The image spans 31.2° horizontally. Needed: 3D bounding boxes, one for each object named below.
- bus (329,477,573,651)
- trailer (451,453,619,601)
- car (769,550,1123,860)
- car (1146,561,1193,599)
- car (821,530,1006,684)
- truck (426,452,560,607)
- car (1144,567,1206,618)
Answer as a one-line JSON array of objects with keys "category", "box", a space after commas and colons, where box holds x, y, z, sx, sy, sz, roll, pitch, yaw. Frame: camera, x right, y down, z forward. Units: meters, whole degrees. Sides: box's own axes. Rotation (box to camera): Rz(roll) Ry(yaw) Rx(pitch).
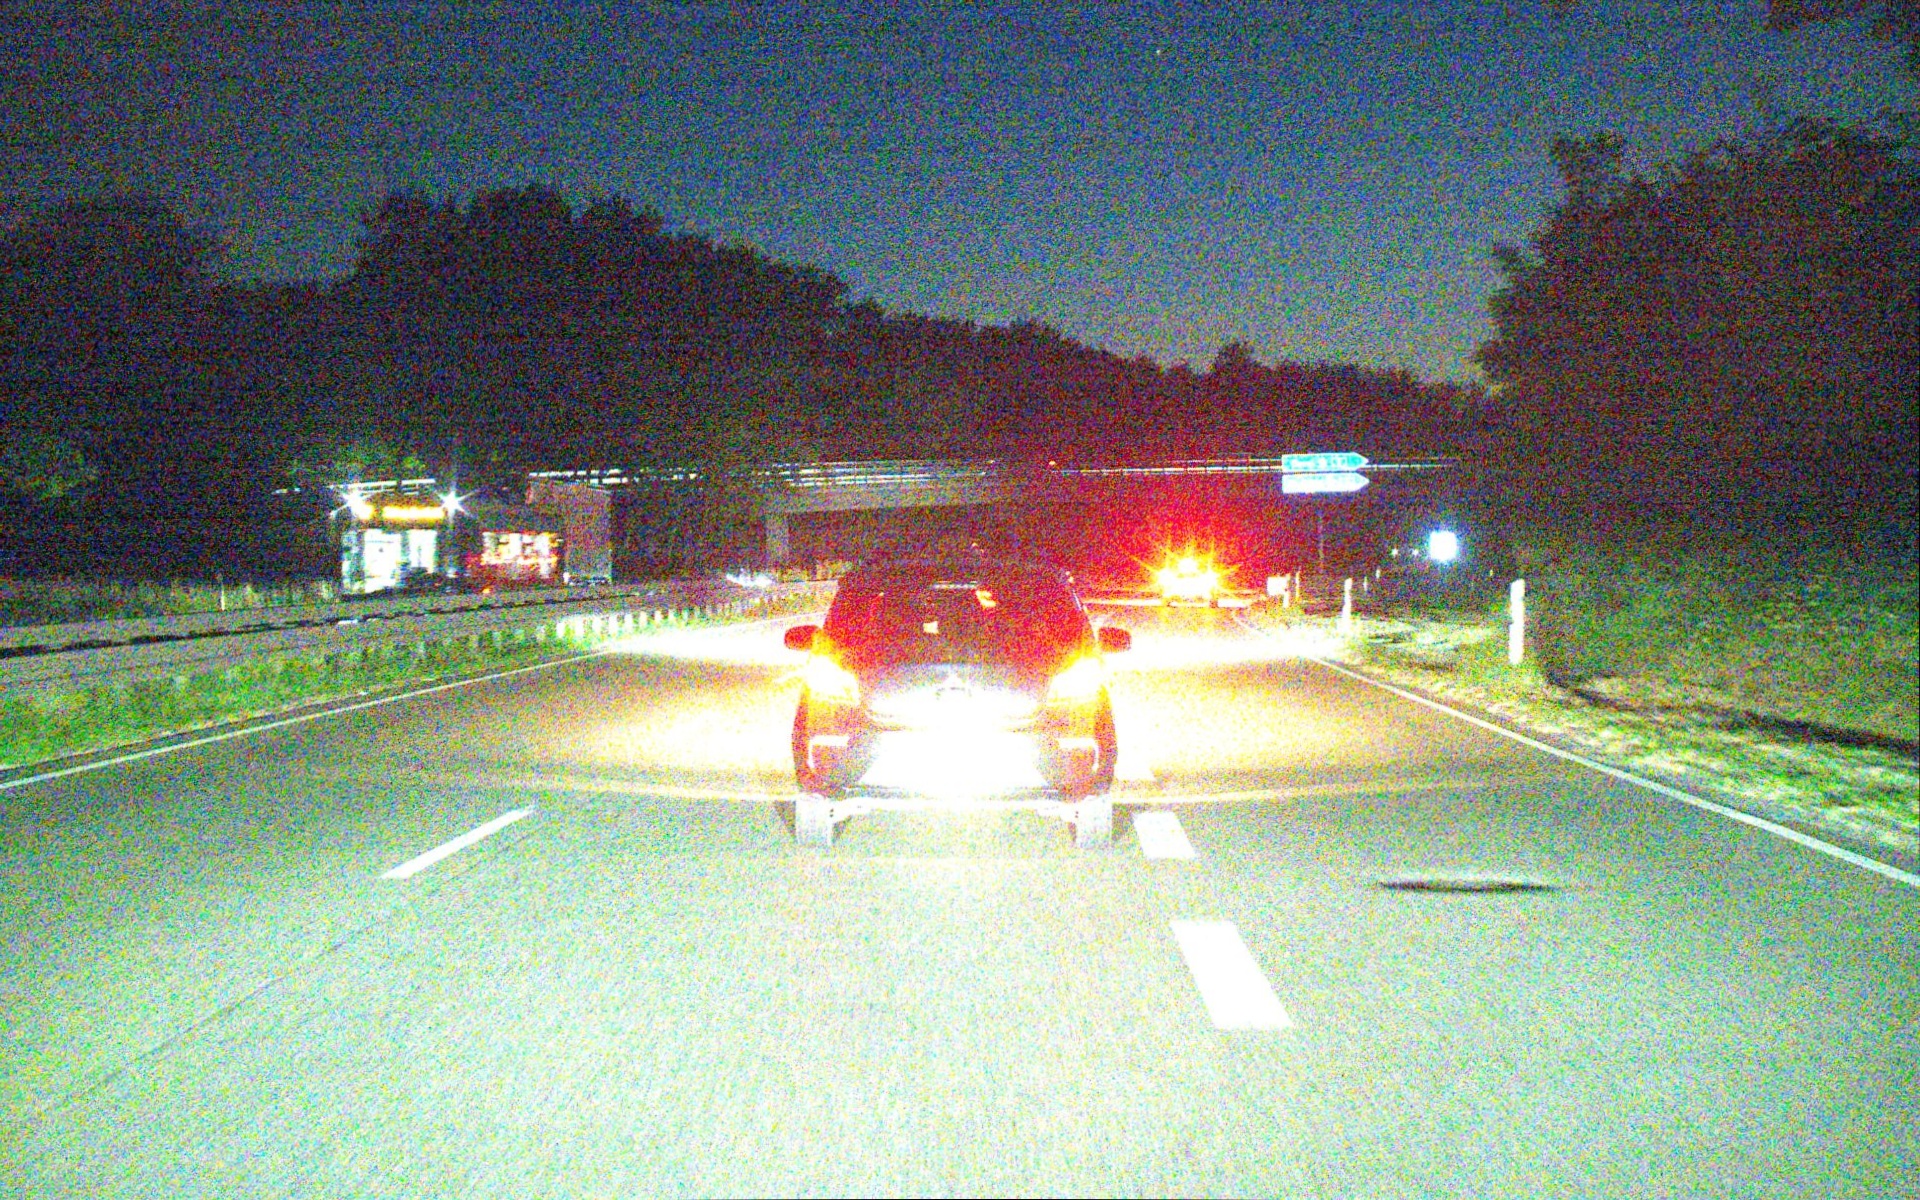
[{"category": "bus", "box": [-10.578, -0.842, 72.931, 2.923, 3.376, 12.307, 0, 1, 2]}, {"category": "trailer", "box": [-12.532, -2.150, 102.794, 2.676, 4.135, 13.745, 0, 1, 3]}, {"category": "car", "box": [-0.023, 0.482, 18.510, 1.691, 1.473, 4.000, 1, 1, 1]}, {"category": "car", "box": [9.709, -0.911, 159.755, 1.951, 1.533, 4.240, -4, -1, 2]}, {"category": "car", "box": [-0.460, 0.034, 38.765, 1.940, 1.603, 4.643, 1, 1, 1]}, {"category": "truck", "box": [-12.924, -1.955, 95.514, 2.676, 4.163, 5.868, 0, 1, 3]}, {"category": "car", "box": [6.862, -0.251, 110.003, 1.733, 1.612, 3.798, 0, 1, 0]}]
